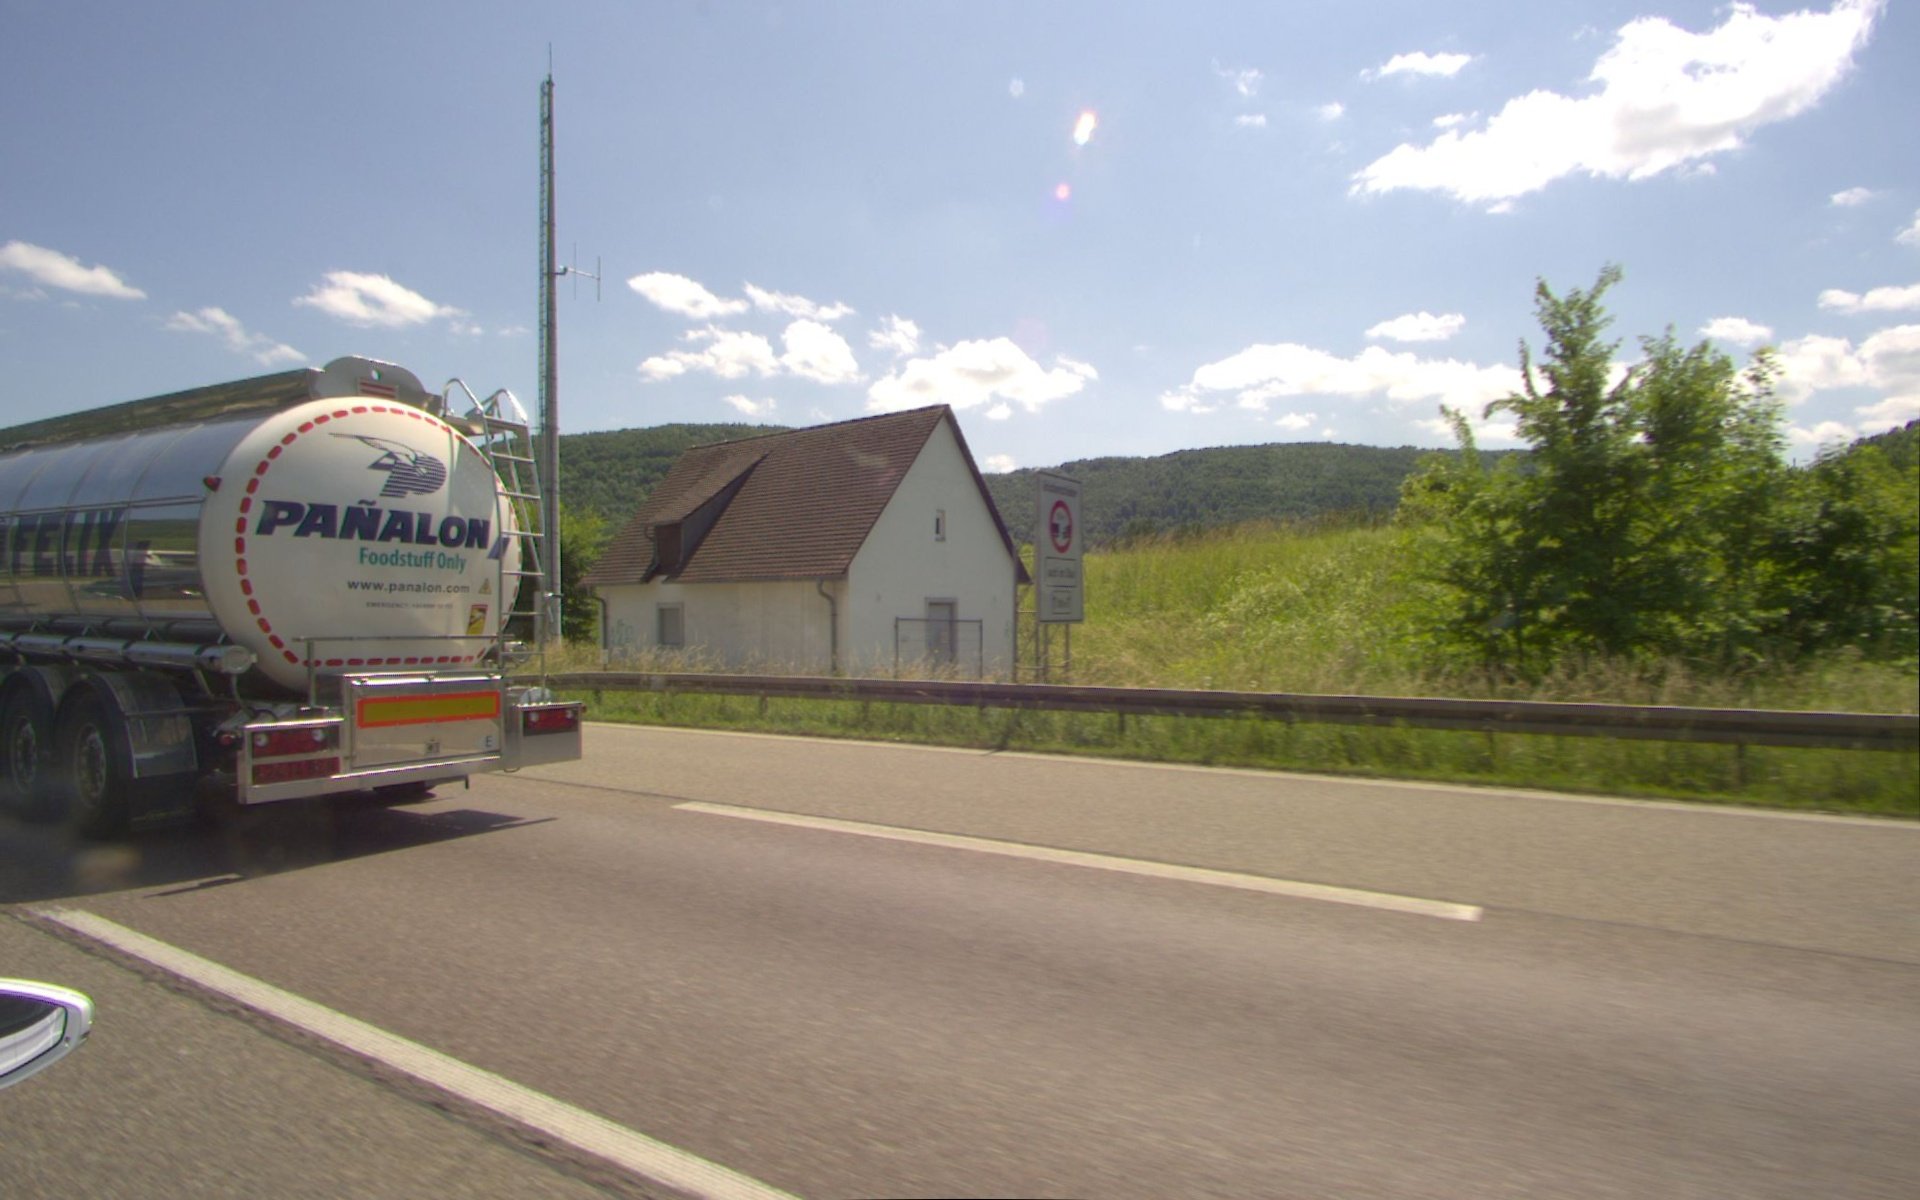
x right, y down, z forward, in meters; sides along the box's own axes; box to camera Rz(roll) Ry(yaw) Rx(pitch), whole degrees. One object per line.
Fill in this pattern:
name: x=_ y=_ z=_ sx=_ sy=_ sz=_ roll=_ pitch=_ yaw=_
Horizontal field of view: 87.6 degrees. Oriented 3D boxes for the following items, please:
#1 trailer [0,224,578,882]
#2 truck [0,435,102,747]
trailer: x=-8.646 y=-0.159 z=9.970 sx=11.721 sy=3.783 sz=2.534 roll=-1 pitch=-1 yaw=32
truck: x=-14.063 y=-0.080 z=13.389 sx=5.170 sy=3.807 sz=2.507 roll=-1 pitch=-1 yaw=32
